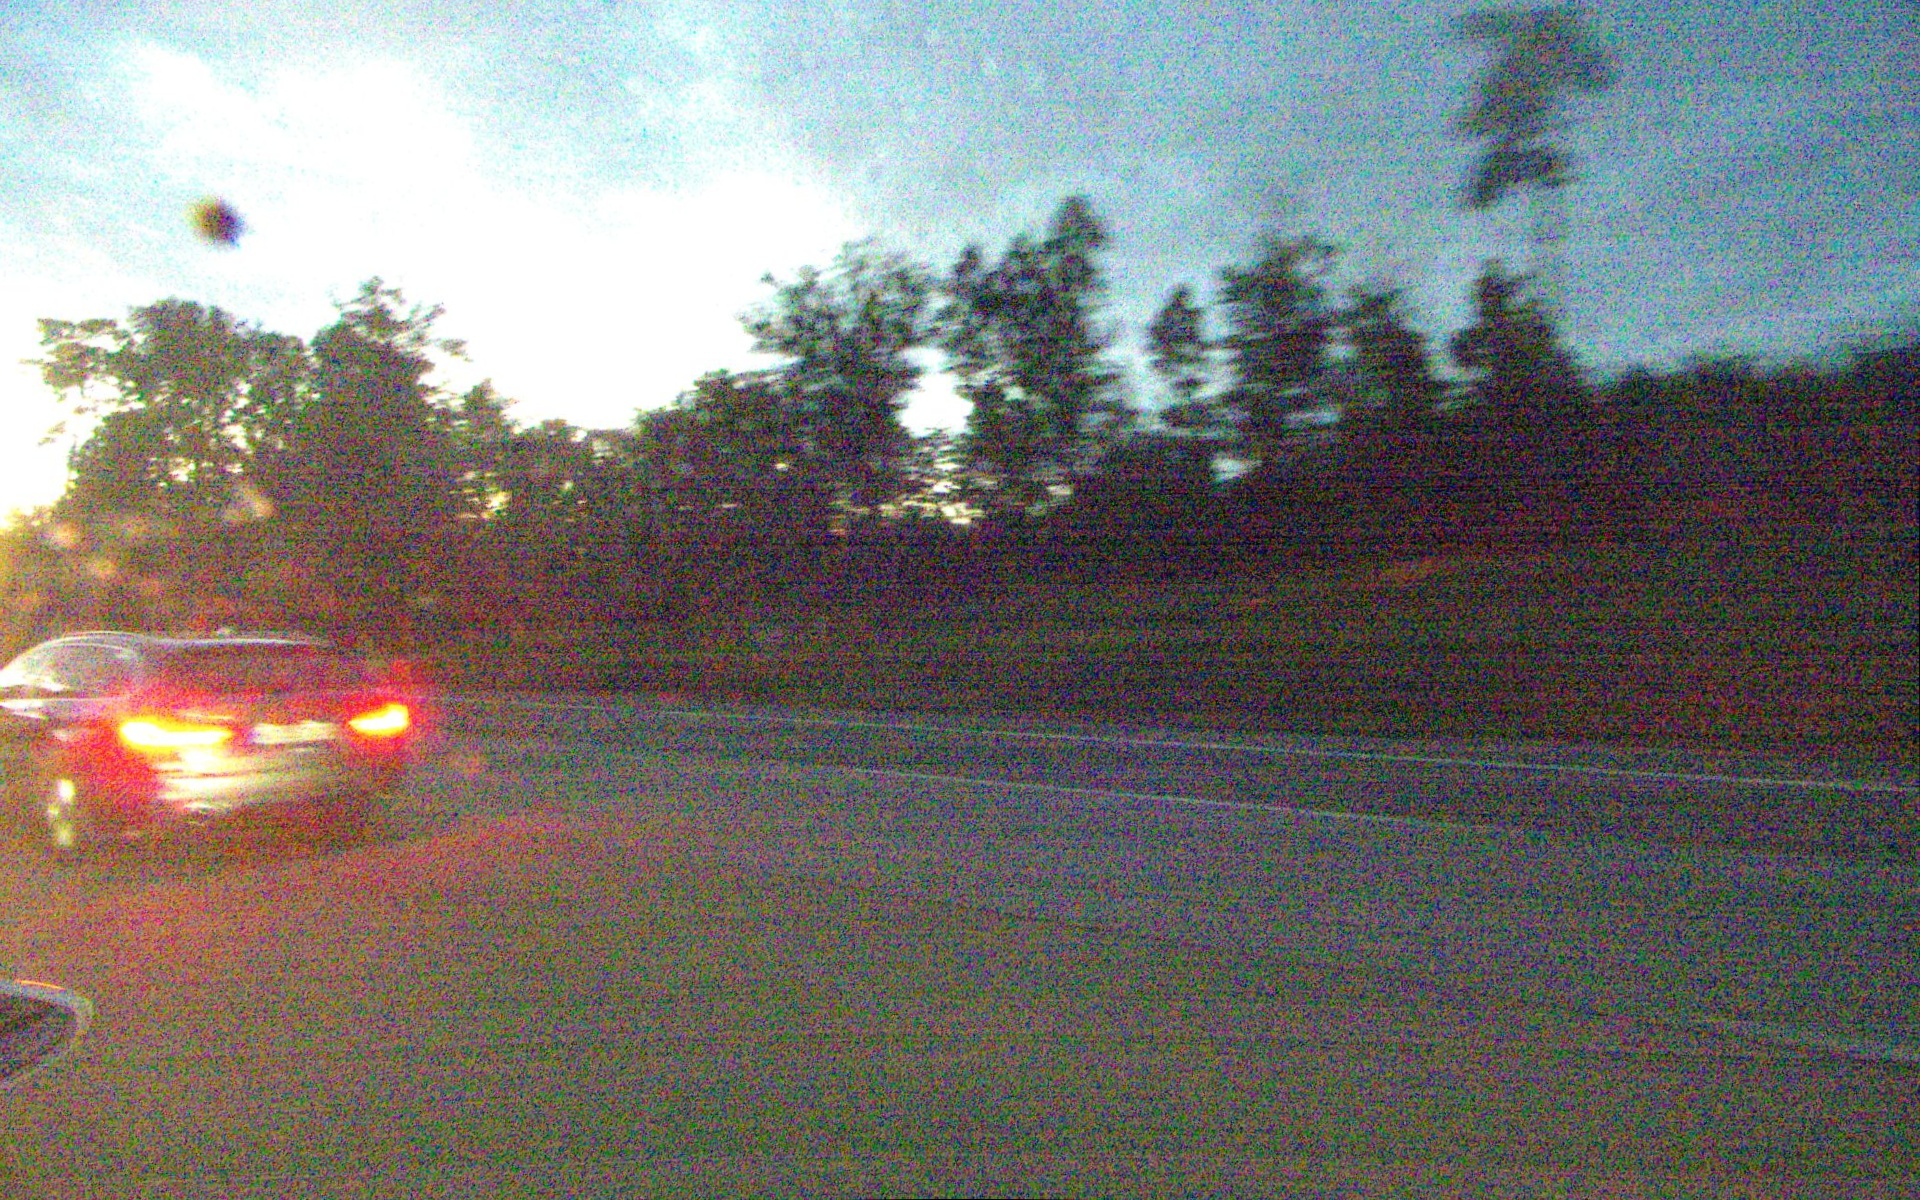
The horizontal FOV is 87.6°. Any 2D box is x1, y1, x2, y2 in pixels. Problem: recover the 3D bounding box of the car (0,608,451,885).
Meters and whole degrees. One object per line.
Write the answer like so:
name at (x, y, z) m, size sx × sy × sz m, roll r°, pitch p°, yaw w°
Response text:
car at (-6.440, 0.865, 7.933) m, size 5.155 × 1.557 × 1.906 m, roll 0°, pitch -1°, yaw 32°
